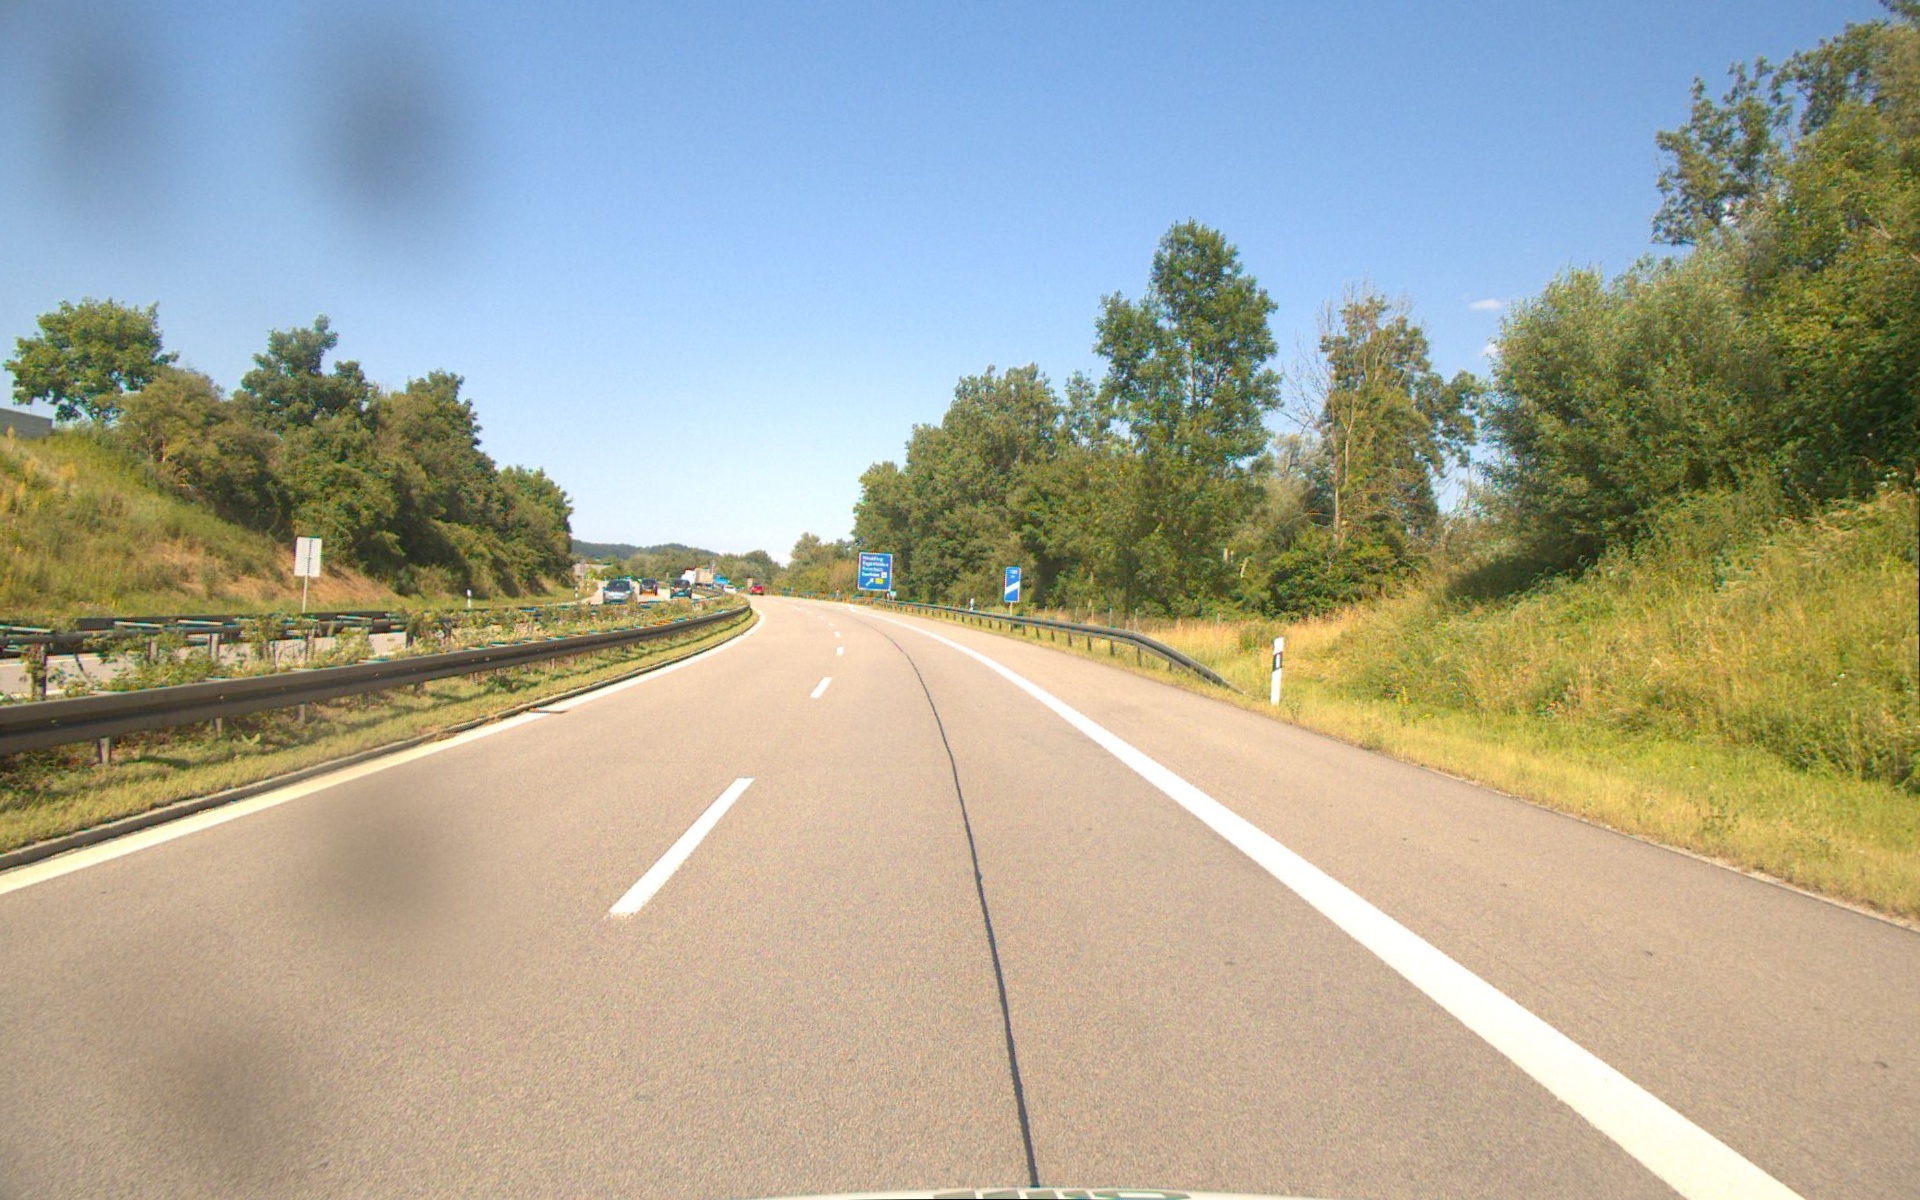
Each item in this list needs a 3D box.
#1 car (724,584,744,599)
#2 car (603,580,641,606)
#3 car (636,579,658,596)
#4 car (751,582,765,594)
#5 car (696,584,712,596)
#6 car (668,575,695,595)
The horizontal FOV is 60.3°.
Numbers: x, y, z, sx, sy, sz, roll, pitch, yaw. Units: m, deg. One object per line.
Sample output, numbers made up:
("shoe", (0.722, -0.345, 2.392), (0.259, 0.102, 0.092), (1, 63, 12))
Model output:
("car", (-28.211, -1.090, 206.356), (2.026, 1.653, 3.986), (2, -2, -13))
("car", (-21.270, -0.442, 104.267), (1.784, 1.506, 4.681), (2, 0, -5))
("car", (-32.074, -1.314, 169.547), (1.956, 1.680, 4.426), (0, 0, -8))
("car", (-29.342, -1.734, 239.630), (1.751, 1.456, 3.991), (6, -1, -9))
("car", (-37.794, -1.437, 244.187), (1.959, 1.780, 3.987), (1, 0, -13))
("car", (-24.275, -1.288, 144.377), (2.028, 1.708, 4.881), (0, 1, -6))
